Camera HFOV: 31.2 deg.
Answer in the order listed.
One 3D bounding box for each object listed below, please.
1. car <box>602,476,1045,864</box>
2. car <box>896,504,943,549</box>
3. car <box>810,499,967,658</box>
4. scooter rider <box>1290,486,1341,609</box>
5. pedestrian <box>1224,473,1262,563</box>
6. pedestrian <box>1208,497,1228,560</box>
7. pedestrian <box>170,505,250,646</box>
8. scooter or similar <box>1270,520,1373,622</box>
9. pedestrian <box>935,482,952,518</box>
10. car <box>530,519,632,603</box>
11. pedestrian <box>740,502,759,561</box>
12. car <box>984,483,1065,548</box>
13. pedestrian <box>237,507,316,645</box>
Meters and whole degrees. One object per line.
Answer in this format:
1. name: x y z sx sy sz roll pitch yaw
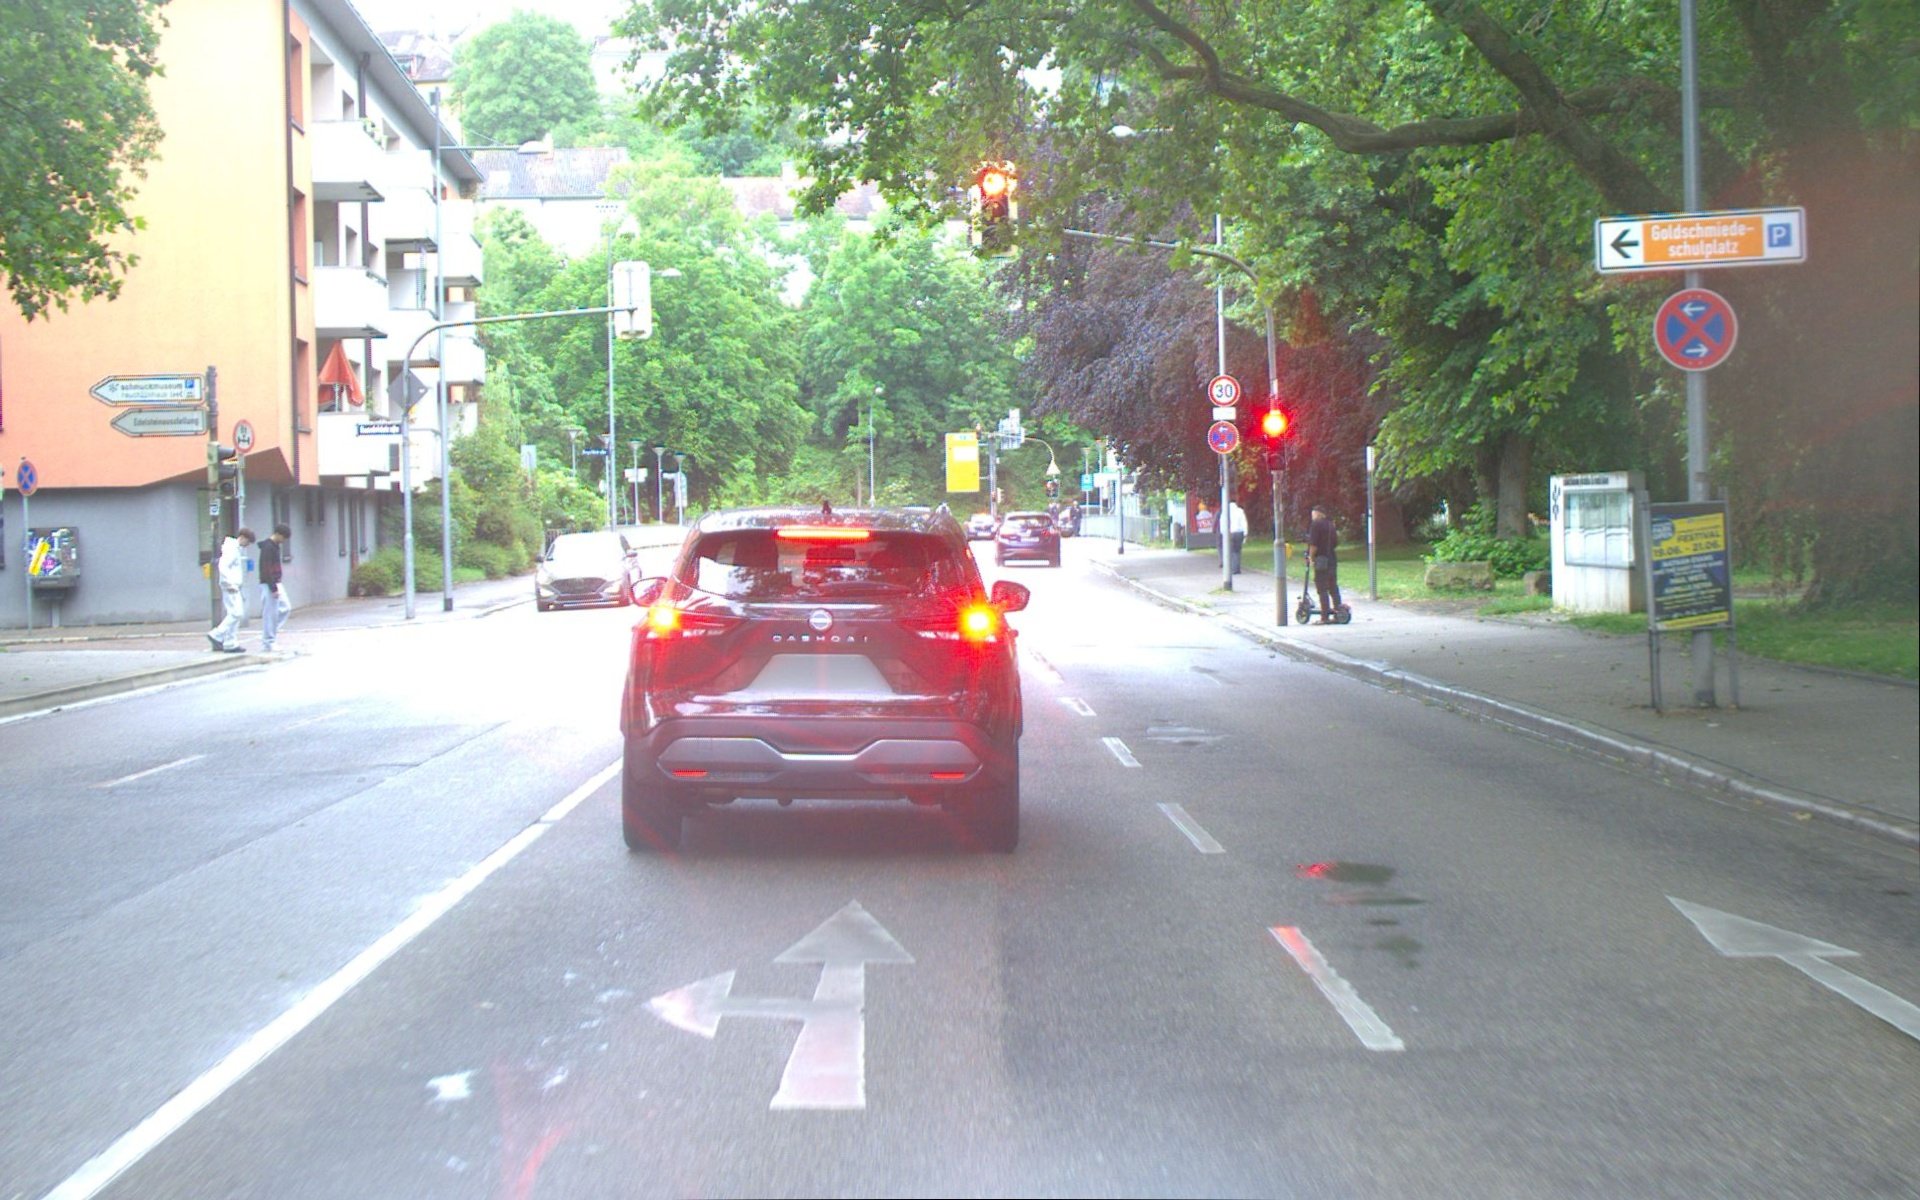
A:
1. car: -0.620 0.252 16.993 1.913 1.674 4.000 1 2 -1
2. car: -1.459 -2.657 123.720 1.634 1.527 3.968 -2 2 -1
3. car: -0.827 -0.292 40.310 1.698 1.739 3.641 -2 2 -1
4. scooter rider: 5.135 -0.753 49.674 0.643 1.760 0.735 -1 0 11
5. pedestrian: 6.405 -1.854 77.836 0.725 2.007 0.851 -2 1 -1
6. pedestrian: 6.161 -1.710 82.242 0.390 1.497 0.559 -2 1 -1
7. pedestrian: -10.060 -0.333 46.141 1.035 1.869 0.658 0 1 -12
8. scooter or similar: 5.226 -0.424 49.673 1.394 1.441 0.816 -1 0 12
9. pedestrian: -0.787 -4.671 161.074 0.509 1.667 0.658 -1 2 27
10. car: -7.371 -0.788 67.074 1.795 1.528 3.868 -2 2 -4
11. pedestrian: -6.474 -2.104 105.822 0.508 1.795 0.619 -2 1 -1
12. car: 1.799 -2.329 95.283 1.994 1.729 4.000 1 1 4
13. pedestrian: -9.342 -0.330 46.959 1.035 1.869 0.658 0 1 -12
